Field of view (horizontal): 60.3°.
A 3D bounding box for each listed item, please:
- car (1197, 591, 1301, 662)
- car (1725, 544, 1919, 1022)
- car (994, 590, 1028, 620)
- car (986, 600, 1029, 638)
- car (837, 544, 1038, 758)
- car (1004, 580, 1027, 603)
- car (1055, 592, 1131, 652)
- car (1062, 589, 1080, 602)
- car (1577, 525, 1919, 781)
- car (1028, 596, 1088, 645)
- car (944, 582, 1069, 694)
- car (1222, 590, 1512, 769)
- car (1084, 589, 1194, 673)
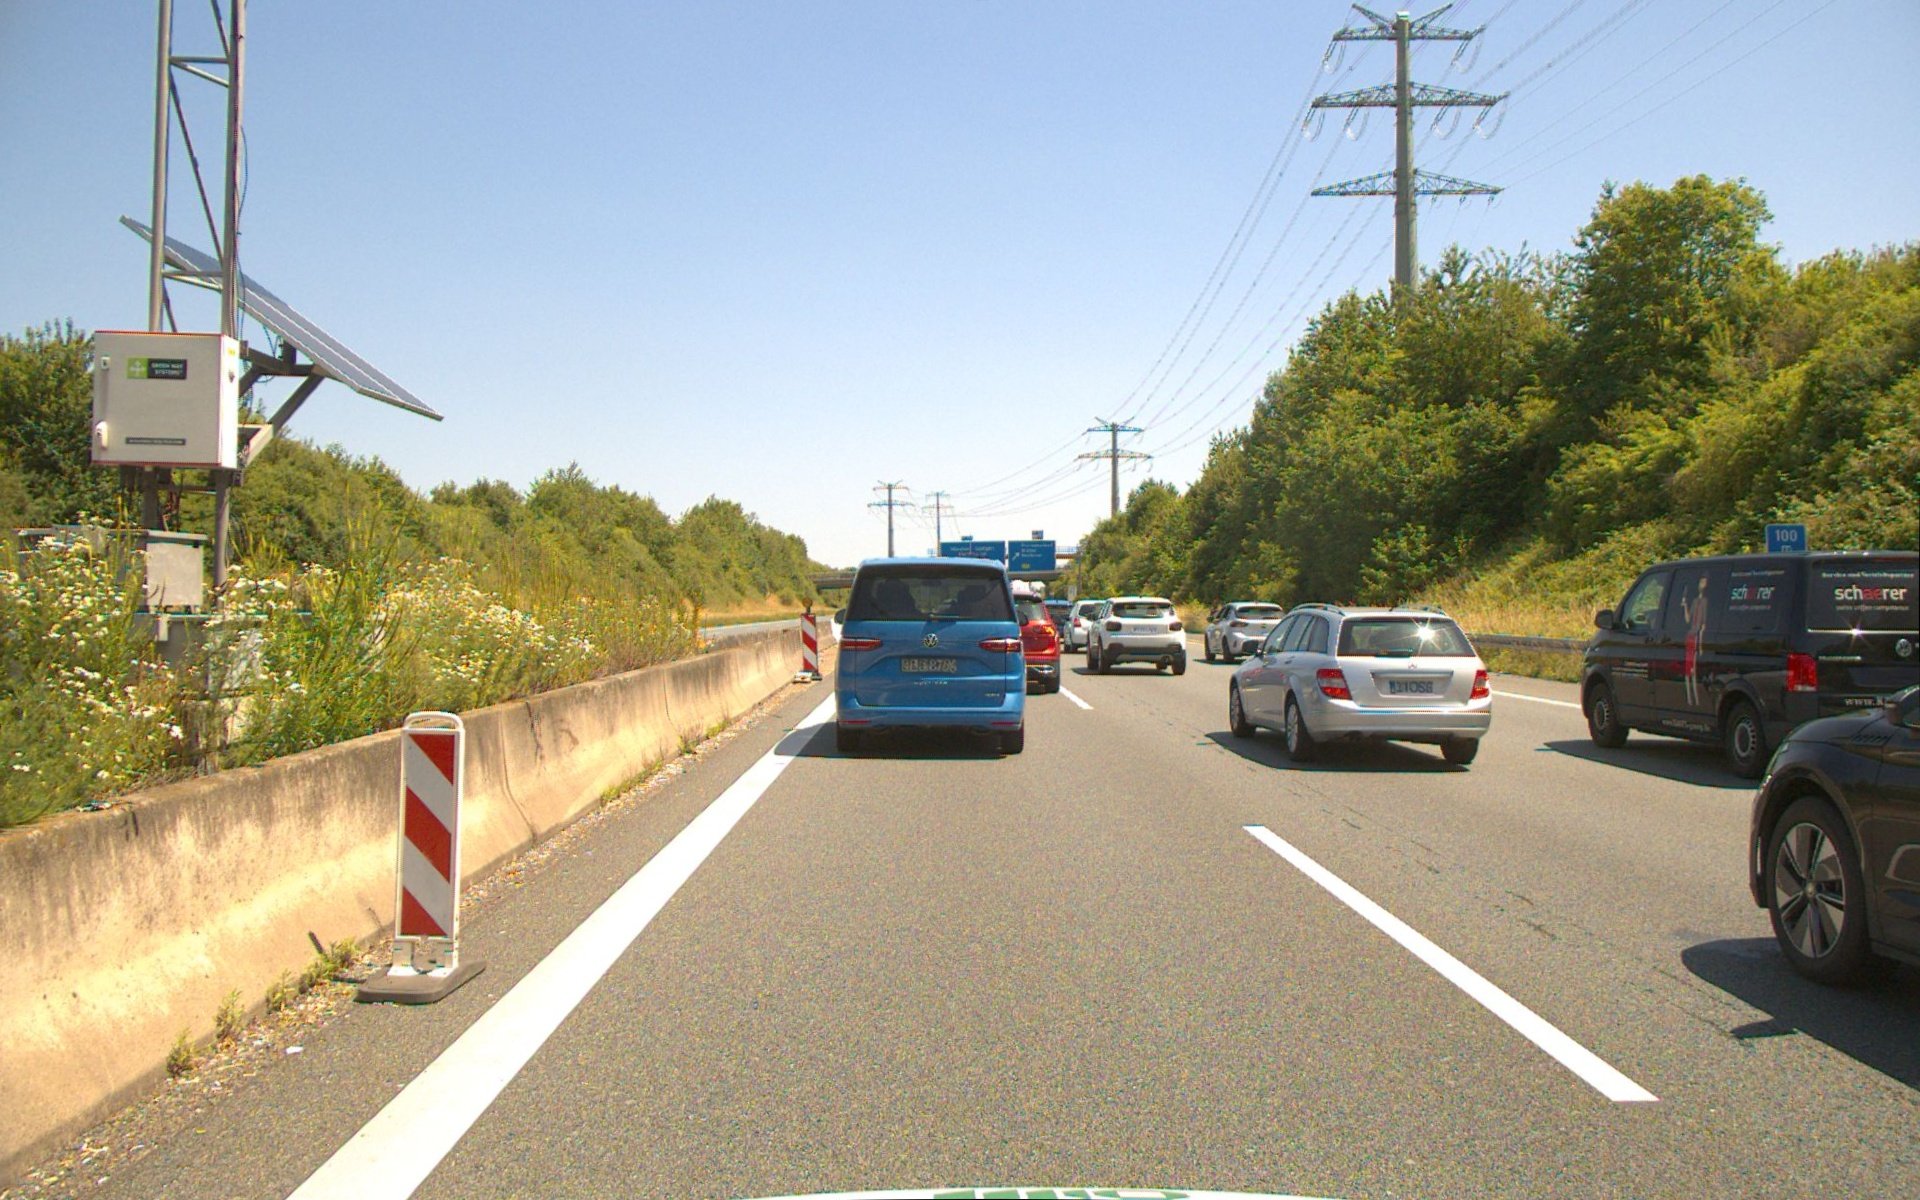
[{"bbox_3d":[7.061,0.632,40.803,1.761,1.622,4.226,1,0,-1],"label":"car"},{"bbox_3d":[4.247,0.655,5.040,1.666,1.684,4.428,1,0,-2],"label":"car"},{"bbox_3d":[2.870,0.284,93.980,1.761,1.622,4.226,1,0,-1],"label":"car"},{"bbox_3d":[2.108,0.825,74.345,1.761,1.622,4.226,1,0,-1],"label":"car"},{"bbox_3d":[-0.267,0.483,17.502,1.837,1.945,4.358,1,0,-2],"label":"car"},{"bbox_3d":[6.104,-0.946,183.175,2.329,2.470,4.226,1,0,-1],"label":"car"},{"bbox_3d":[3.789,0.624,47.733,1.761,1.622,4.226,1,0,-1],"label":"car"},{"bbox_3d":[14.798,-0.596,220.666,1.837,1.700,4.358,1,0,-2],"label":"car"},{"bbox_3d":[7.549,0.444,15.518,1.762,2.049,4.224,1,0,-3],"label":"car"},{"bbox_3d":[3.405,0.689,58.080,1.761,1.622,4.226,1,0,-1],"label":"car"},{"bbox_3d":[0.706,0.596,27.865,1.837,1.700,4.358,1,0,-2],"label":"car"},{"bbox_3d":[3.917,0.707,16.676,1.735,1.544,4.358,1,0,-2],"label":"car"},{"bbox_3d":[3.681,0.619,34.630,1.761,1.622,4.226,1,0,-1],"label":"car"}]
